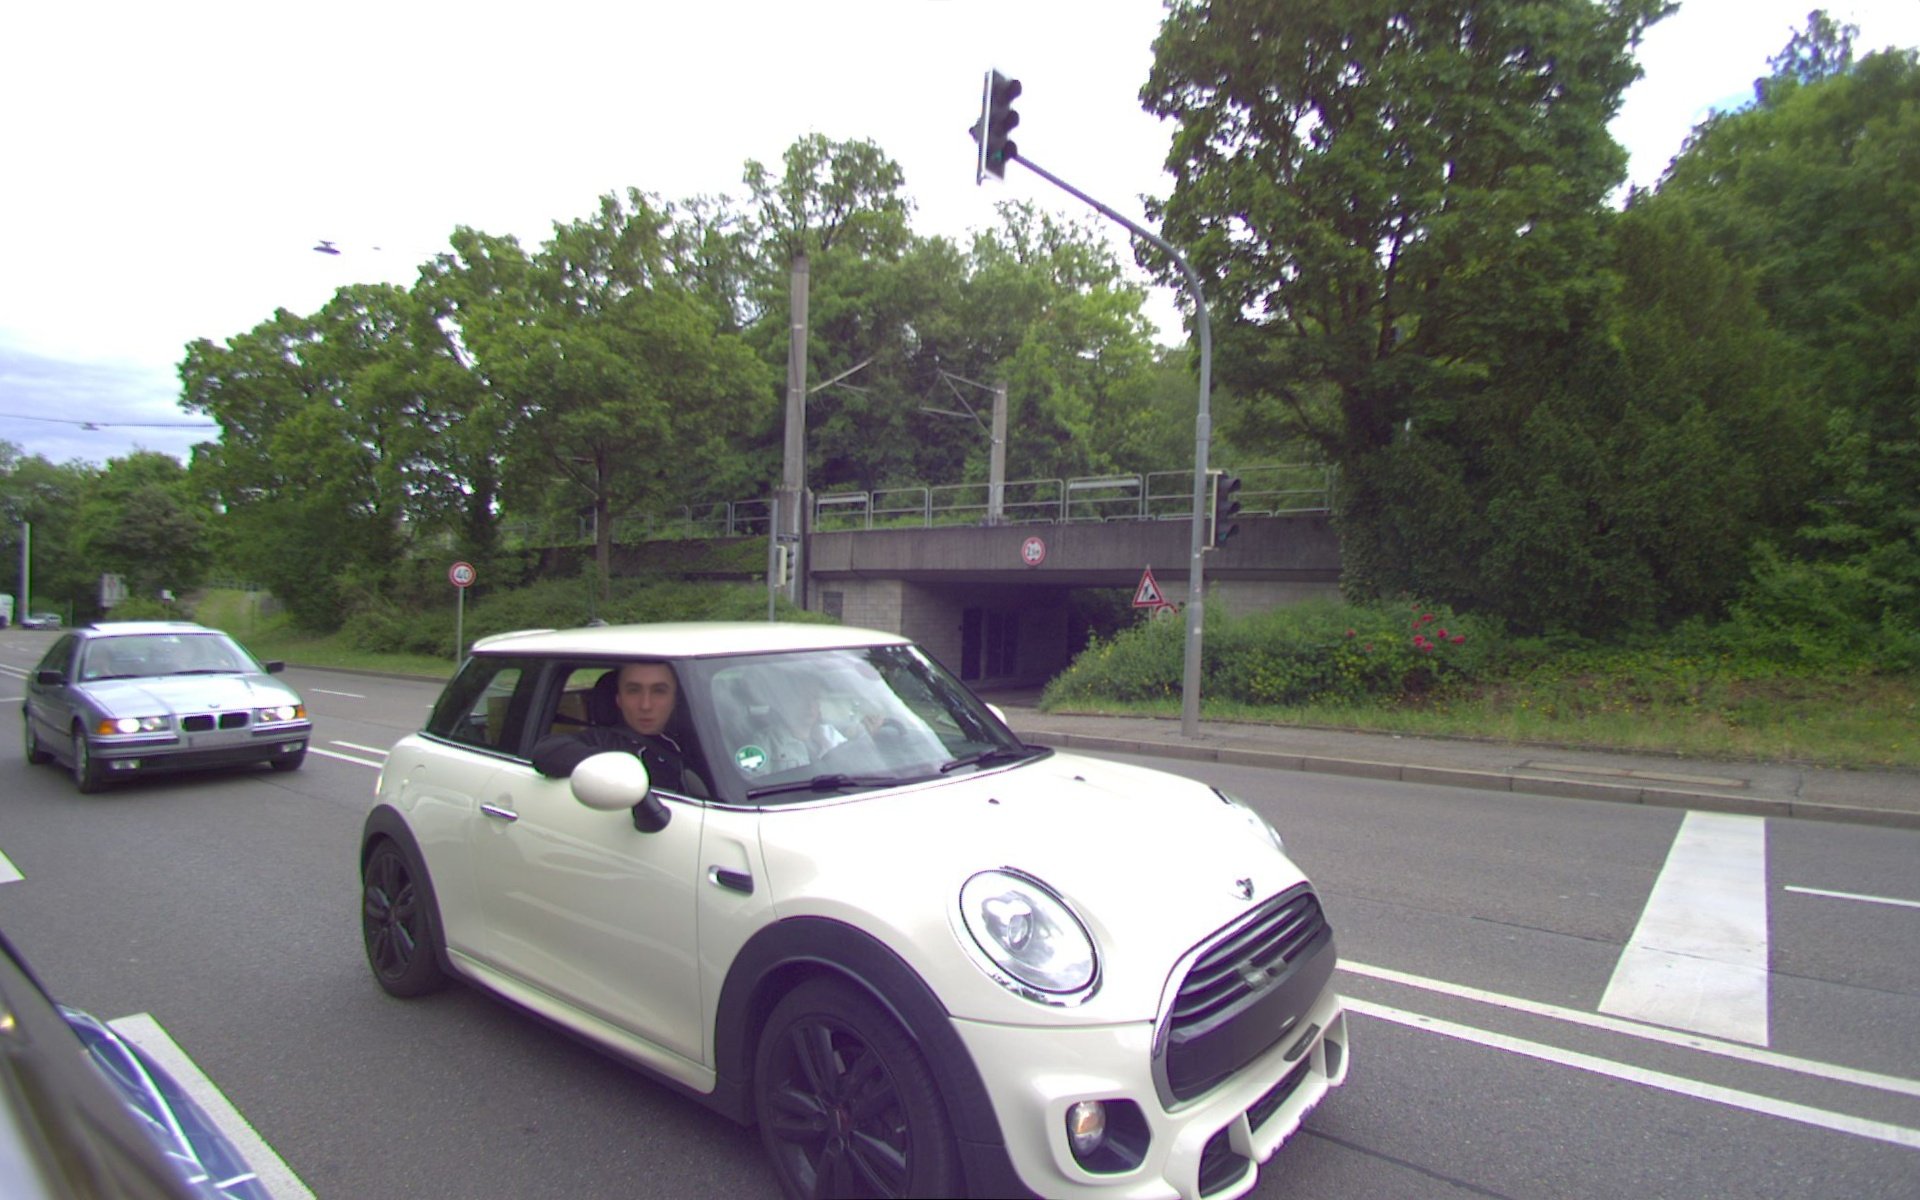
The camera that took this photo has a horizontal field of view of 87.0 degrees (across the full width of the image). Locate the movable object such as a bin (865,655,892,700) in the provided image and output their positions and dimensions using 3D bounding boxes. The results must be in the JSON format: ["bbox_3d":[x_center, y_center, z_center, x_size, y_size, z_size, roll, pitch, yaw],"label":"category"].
[{"bbox_3d":[-2.003,1.886,24.830,0.503,1.071,0.414,-1,-3,36],"label":"movable object such as a bin"}]

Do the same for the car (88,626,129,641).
[{"bbox_3d":[-88.854,3.483,105.604,1.727,1.372,4.022,4,-4,-16],"label":"car"}]

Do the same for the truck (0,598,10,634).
[{"bbox_3d":[-86.927,1.307,88.914,2.164,3.180,6.670,2,-3,-17],"label":"truck"}]

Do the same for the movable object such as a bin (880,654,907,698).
[{"bbox_3d":[-1.674,1.909,25.447,0.503,1.071,0.414,-1,-3,36],"label":"movable object such as a bin"}]

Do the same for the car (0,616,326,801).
[{"bbox_3d":[-7.793,0.874,9.751,4.179,1.401,1.643,-1,-1,40],"label":"car"}]

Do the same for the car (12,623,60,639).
[{"bbox_3d":[-89.894,3.036,98.518,1.727,1.372,4.022,4,-4,-17],"label":"car"}]

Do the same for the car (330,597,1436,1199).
[{"bbox_3d":[-0.571,0.745,3.515,3.729,1.434,1.667,-1,-1,40],"label":"car"}]
